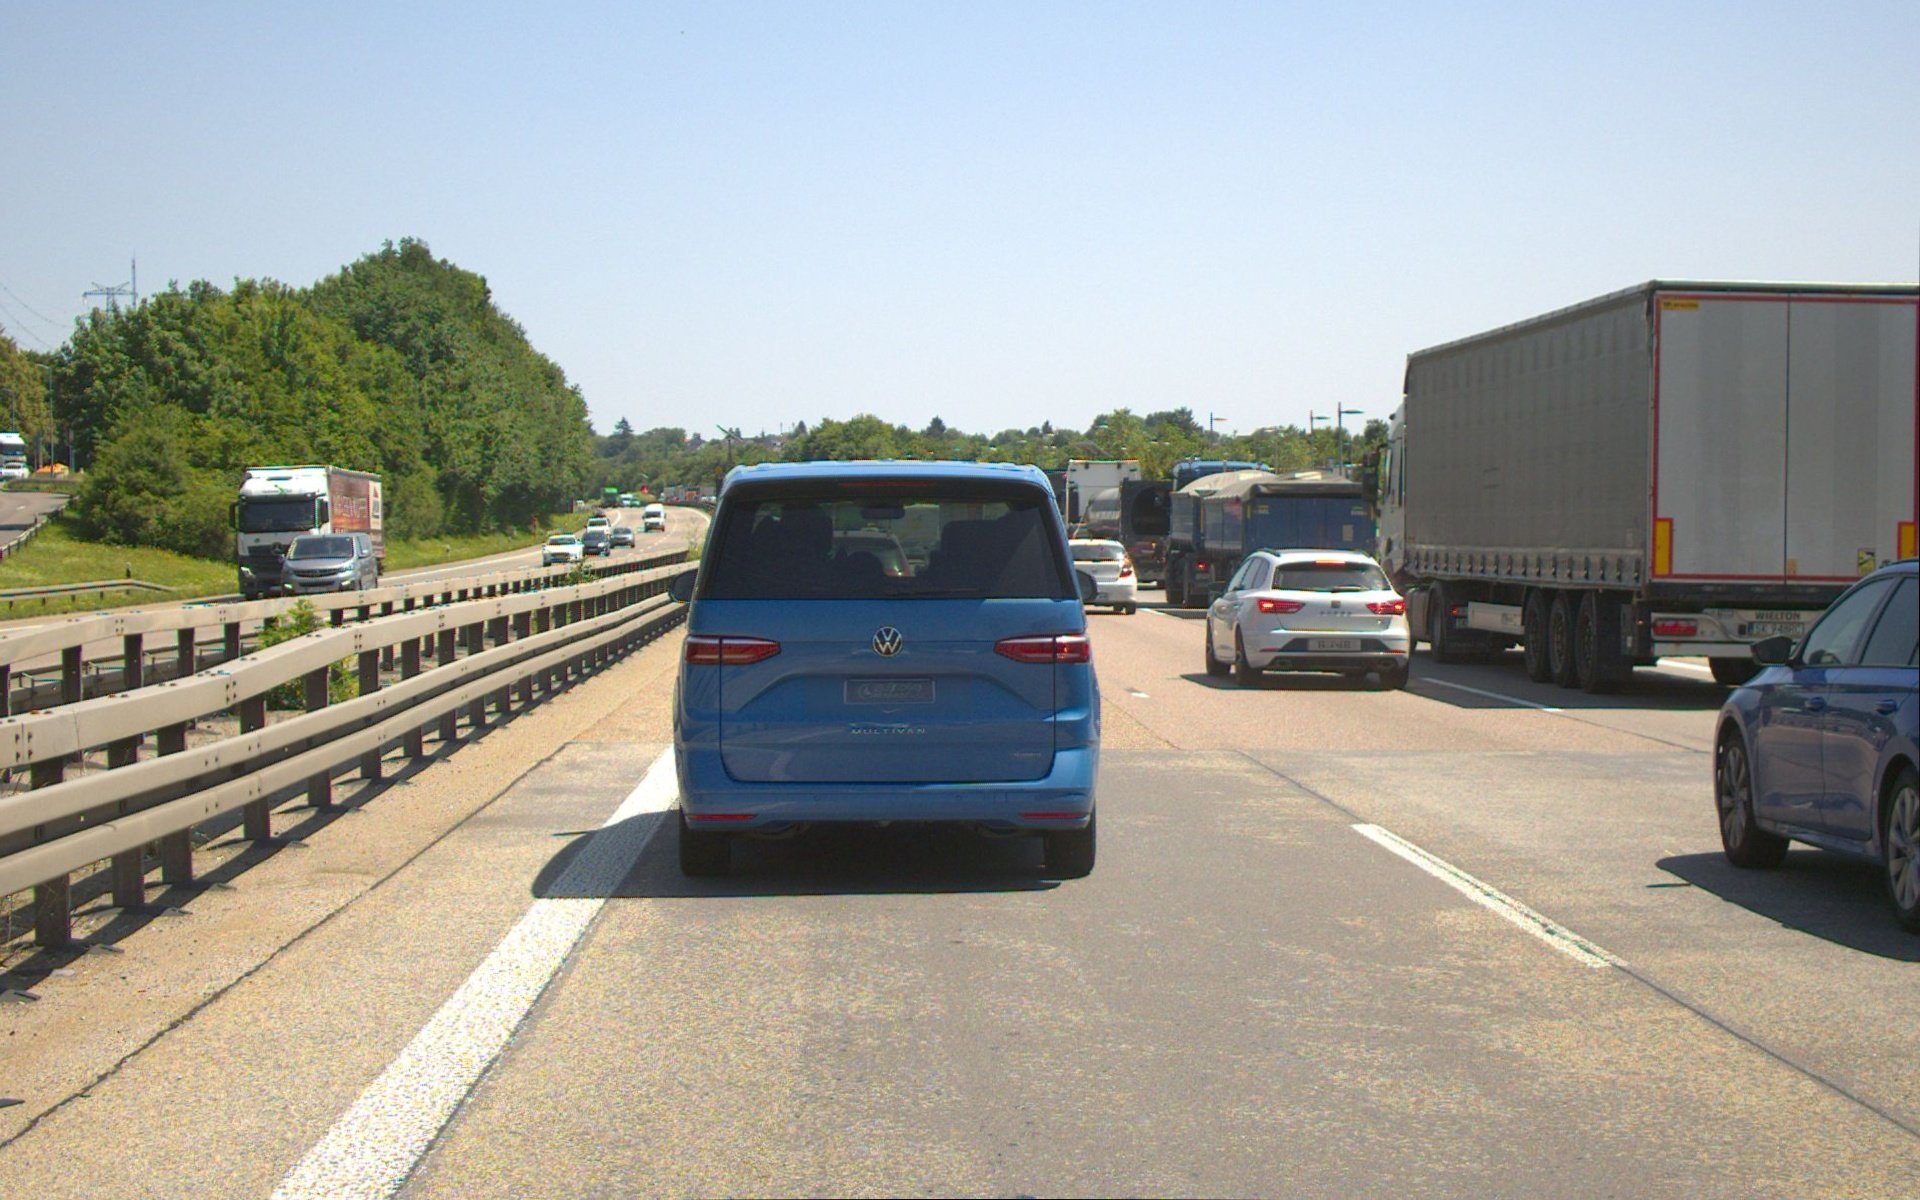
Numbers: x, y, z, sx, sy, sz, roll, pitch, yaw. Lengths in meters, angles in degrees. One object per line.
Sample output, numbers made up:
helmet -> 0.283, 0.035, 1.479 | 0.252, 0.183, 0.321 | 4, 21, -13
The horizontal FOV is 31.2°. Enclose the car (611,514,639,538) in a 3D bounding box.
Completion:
car -> -23.731, -5.244, 243.425 | 1.773, 1.625, 3.951 | 1, 1, -3

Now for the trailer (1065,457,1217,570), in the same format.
trailer -> 5.235, -2.481, 102.924 | 3.646, 3.068, 15.772 | 1, 1, 0

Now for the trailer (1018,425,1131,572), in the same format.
trailer -> 4.127, -3.635, 127.169 | 3.646, 5.118, 13.076 | 1, 1, 0

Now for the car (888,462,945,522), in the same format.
car -> -2.103, -5.162, 165.143 | 2.550, 2.708, 5.622 | 1, 1, -2

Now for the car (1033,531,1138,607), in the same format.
car -> 2.499, -0.630, 69.316 | 1.840, 1.449, 4.000 | 1, 1, -2

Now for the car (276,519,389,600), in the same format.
car -> -15.643, -1.005, 85.918 | 1.993, 1.934, 4.897 | 1, 1, -1

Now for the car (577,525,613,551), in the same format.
car -> -21.573, -3.643, 203.179 | 1.876, 1.441, 4.146 | -2, 1, -3

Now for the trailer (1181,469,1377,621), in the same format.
trailer -> 6.293, -1.203, 69.189 | 2.743, 2.827, 9.117 | 1, 2, -2

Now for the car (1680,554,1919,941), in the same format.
car -> 4.386, 0.542, 14.336 | 1.706, 1.436, 4.428 | 1, 1, -2

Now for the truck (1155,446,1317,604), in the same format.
truck -> 6.054, -1.724, 76.428 | 2.743, 3.300, 7.134 | 1, 2, -2

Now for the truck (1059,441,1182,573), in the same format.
truck -> 5.140, -2.953, 111.390 | 3.626, 4.080, 7.524 | 1, 1, 0

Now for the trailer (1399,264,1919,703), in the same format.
trailer -> 7.524, -1.228, 38.576 | 2.962, 4.035, 13.754 | 0, 1, -2

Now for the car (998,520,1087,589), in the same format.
car -> 1.897, -1.050, 79.641 | 1.780, 1.519, 4.000 | 1, 1, -2

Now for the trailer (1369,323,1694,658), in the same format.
trailer -> 7.275, -1.407, 44.674 | 2.924, 4.030, 6.411 | 0, 2, -2

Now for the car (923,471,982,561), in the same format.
car -> -0.497, -5.025, 207.851 | 3.218, 5.239, 8.145 | 1, 1, -2

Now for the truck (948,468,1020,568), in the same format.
truck -> 1.152, -4.092, 174.225 | 3.068, 4.903, 10.691 | 1, 1, -2

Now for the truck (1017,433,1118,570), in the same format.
truck -> 4.129, -3.758, 133.236 | 3.658, 5.162, 5.709 | 1, 1, 0

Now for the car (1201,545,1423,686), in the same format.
car -> 3.665, 0.125, 36.426 | 1.867, 1.356, 4.000 | 1, 1, -1

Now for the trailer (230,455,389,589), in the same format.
trailer -> -20.961, -2.579, 111.672 | 2.763, 3.962, 14.683 | -2, 2, -2

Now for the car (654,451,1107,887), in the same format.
car -> -0.367, 0.271, 16.630 | 1.901, 1.831, 4.000 | 1, 1, -1

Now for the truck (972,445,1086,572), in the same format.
truck -> 2.888, -3.869, 150.117 | 3.621, 5.194, 15.691 | 1, 1, -4

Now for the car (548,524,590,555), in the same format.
car -> -19.330, -2.986, 170.103 | 1.850, 1.462, 4.305 | -1, 1, -3

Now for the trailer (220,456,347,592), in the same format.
trailer -> -20.744, -2.365, 105.771 | 2.756, 3.962, 6.132 | -2, 2, -2
